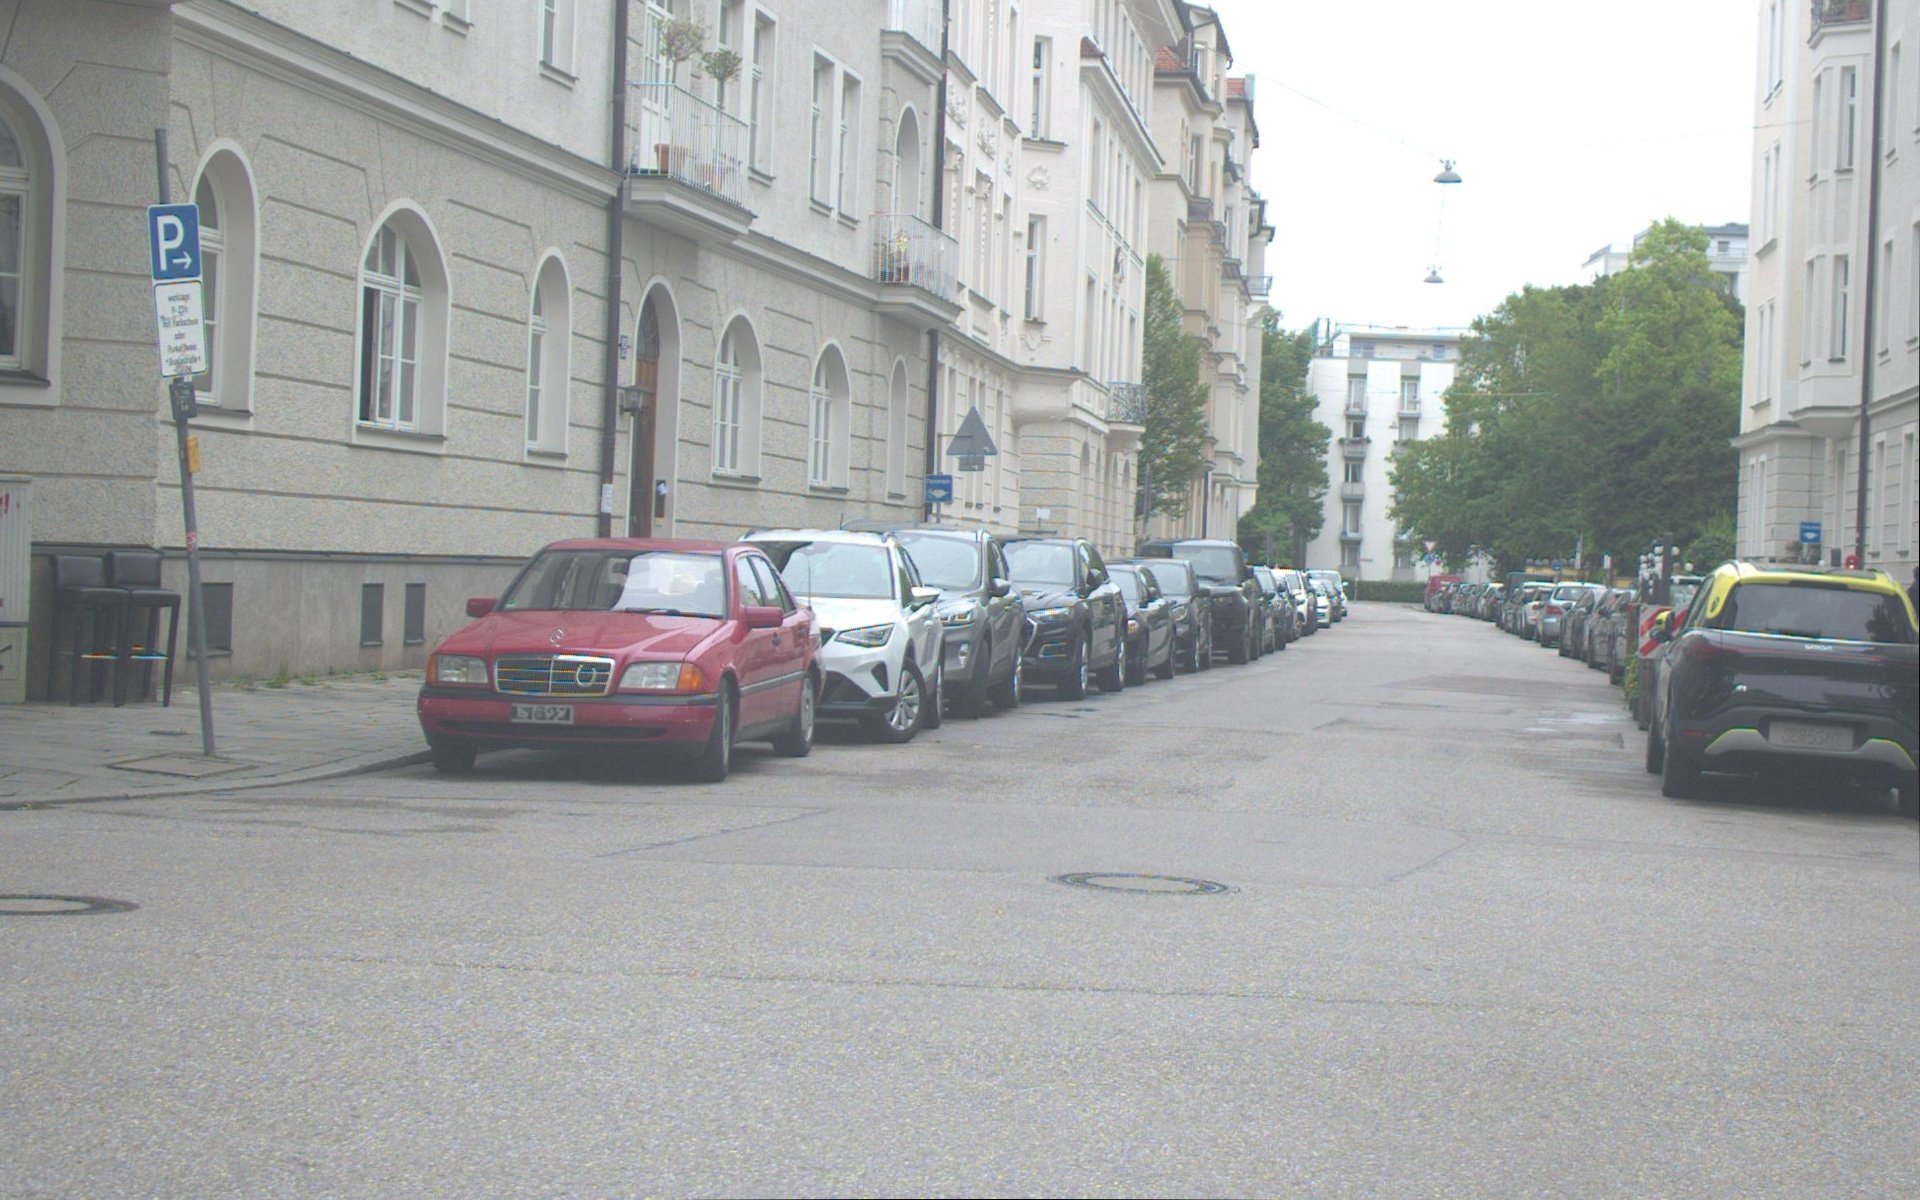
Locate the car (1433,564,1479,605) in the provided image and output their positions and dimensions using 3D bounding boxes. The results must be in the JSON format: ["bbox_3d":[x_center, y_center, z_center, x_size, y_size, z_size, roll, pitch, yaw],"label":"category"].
[{"bbox_3d":[25.455,-0.816,176.493,1.994,1.975,4.892,3,1,6],"label":"car"}]

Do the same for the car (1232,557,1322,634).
[{"bbox_3d":[6.957,-0.128,75.237,1.821,1.568,3.999,3,1,6],"label":"car"}]

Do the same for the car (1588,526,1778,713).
[{"bbox_3d":[8.336,0.190,39.917,1.821,1.917,4.182,5,1,9],"label":"car"}]

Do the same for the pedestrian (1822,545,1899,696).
[{"bbox_3d":[11.371,0.247,43.439,0.778,1.844,1.022,2,1,10],"label":"pedestrian"}]

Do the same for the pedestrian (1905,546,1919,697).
[{"bbox_3d":[12.225,0.273,42.676,0.778,1.844,1.022,2,1,10],"label":"pedestrian"}]

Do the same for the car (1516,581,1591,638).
[{"bbox_3d":[15.960,0.242,92.558,1.730,1.413,3.851,3,1,7],"label":"car"}]

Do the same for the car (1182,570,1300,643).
[{"bbox_3d":[5.244,0.091,63.790,1.907,1.218,3.999,3,1,8],"label":"car"}]

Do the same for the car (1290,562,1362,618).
[{"bbox_3d":[10.884,-0.314,102.134,1.994,1.568,3.999,3,1,6],"label":"car"}]

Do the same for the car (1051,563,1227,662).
[{"bbox_3d":[2.517,0.146,47.493,1.907,1.218,3.998,3,1,10],"label":"car"}]

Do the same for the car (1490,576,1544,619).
[{"bbox_3d":[22.255,-0.124,137.507,1.950,1.646,3.999,1,1,7],"label":"car"}]

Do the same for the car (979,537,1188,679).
[{"bbox_3d":[1.552,0.065,41.710,1.926,1.541,3.998,3,1,10],"label":"car"}]

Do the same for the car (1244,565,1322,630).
[{"bbox_3d":[7.645,-0.085,81.158,1.734,1.415,3.999,3,1,6],"label":"car"}]

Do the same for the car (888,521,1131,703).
[{"bbox_3d":[0.581,0.085,35.360,1.994,1.670,4.288,3,1,7],"label":"car"}]

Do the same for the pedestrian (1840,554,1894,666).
[{"bbox_3d":[15.340,0.165,58.141,0.779,1.844,0.858,3,1,17],"label":"pedestrian"}]

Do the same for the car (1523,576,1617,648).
[{"bbox_3d":[14.506,0.264,81.930,1.907,1.571,3.999,3,1,7],"label":"car"}]

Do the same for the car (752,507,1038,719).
[{"bbox_3d":[-0.495,0.079,30.372,1.994,1.670,4.011,3,1,6],"label":"car"}]

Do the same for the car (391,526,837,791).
[{"bbox_3d":[-1.978,0.292,20.905,1.731,1.373,4.225,3,1,7],"label":"car"}]

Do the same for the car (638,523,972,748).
[{"bbox_3d":[-1.067,0.211,25.816,1.994,1.468,4.218,2,1,4],"label":"car"}]

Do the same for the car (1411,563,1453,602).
[{"bbox_3d":[25.687,-0.972,187.260,1.994,1.975,4.892,3,1,6],"label":"car"}]

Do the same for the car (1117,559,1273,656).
[{"bbox_3d":[3.609,0.084,52.136,1.907,1.324,3.998,3,1,10],"label":"car"}]

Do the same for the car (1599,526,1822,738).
[{"bbox_3d":[7.481,0.279,34.590,1.821,1.864,4.287,5,1,9],"label":"car"}]

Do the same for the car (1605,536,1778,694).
[{"bbox_3d":[9.450,0.162,44.616,1.994,1.850,4.343,3,1,11],"label":"car"}]

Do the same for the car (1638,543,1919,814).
[{"bbox_3d":[5.889,0.495,24.477,1.821,1.630,4.287,5,1,9],"label":"car"}]

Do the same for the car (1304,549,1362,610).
[{"bbox_3d":[13.022,-0.731,119.852,1.846,2.007,3.999,3,1,7],"label":"car"}]
